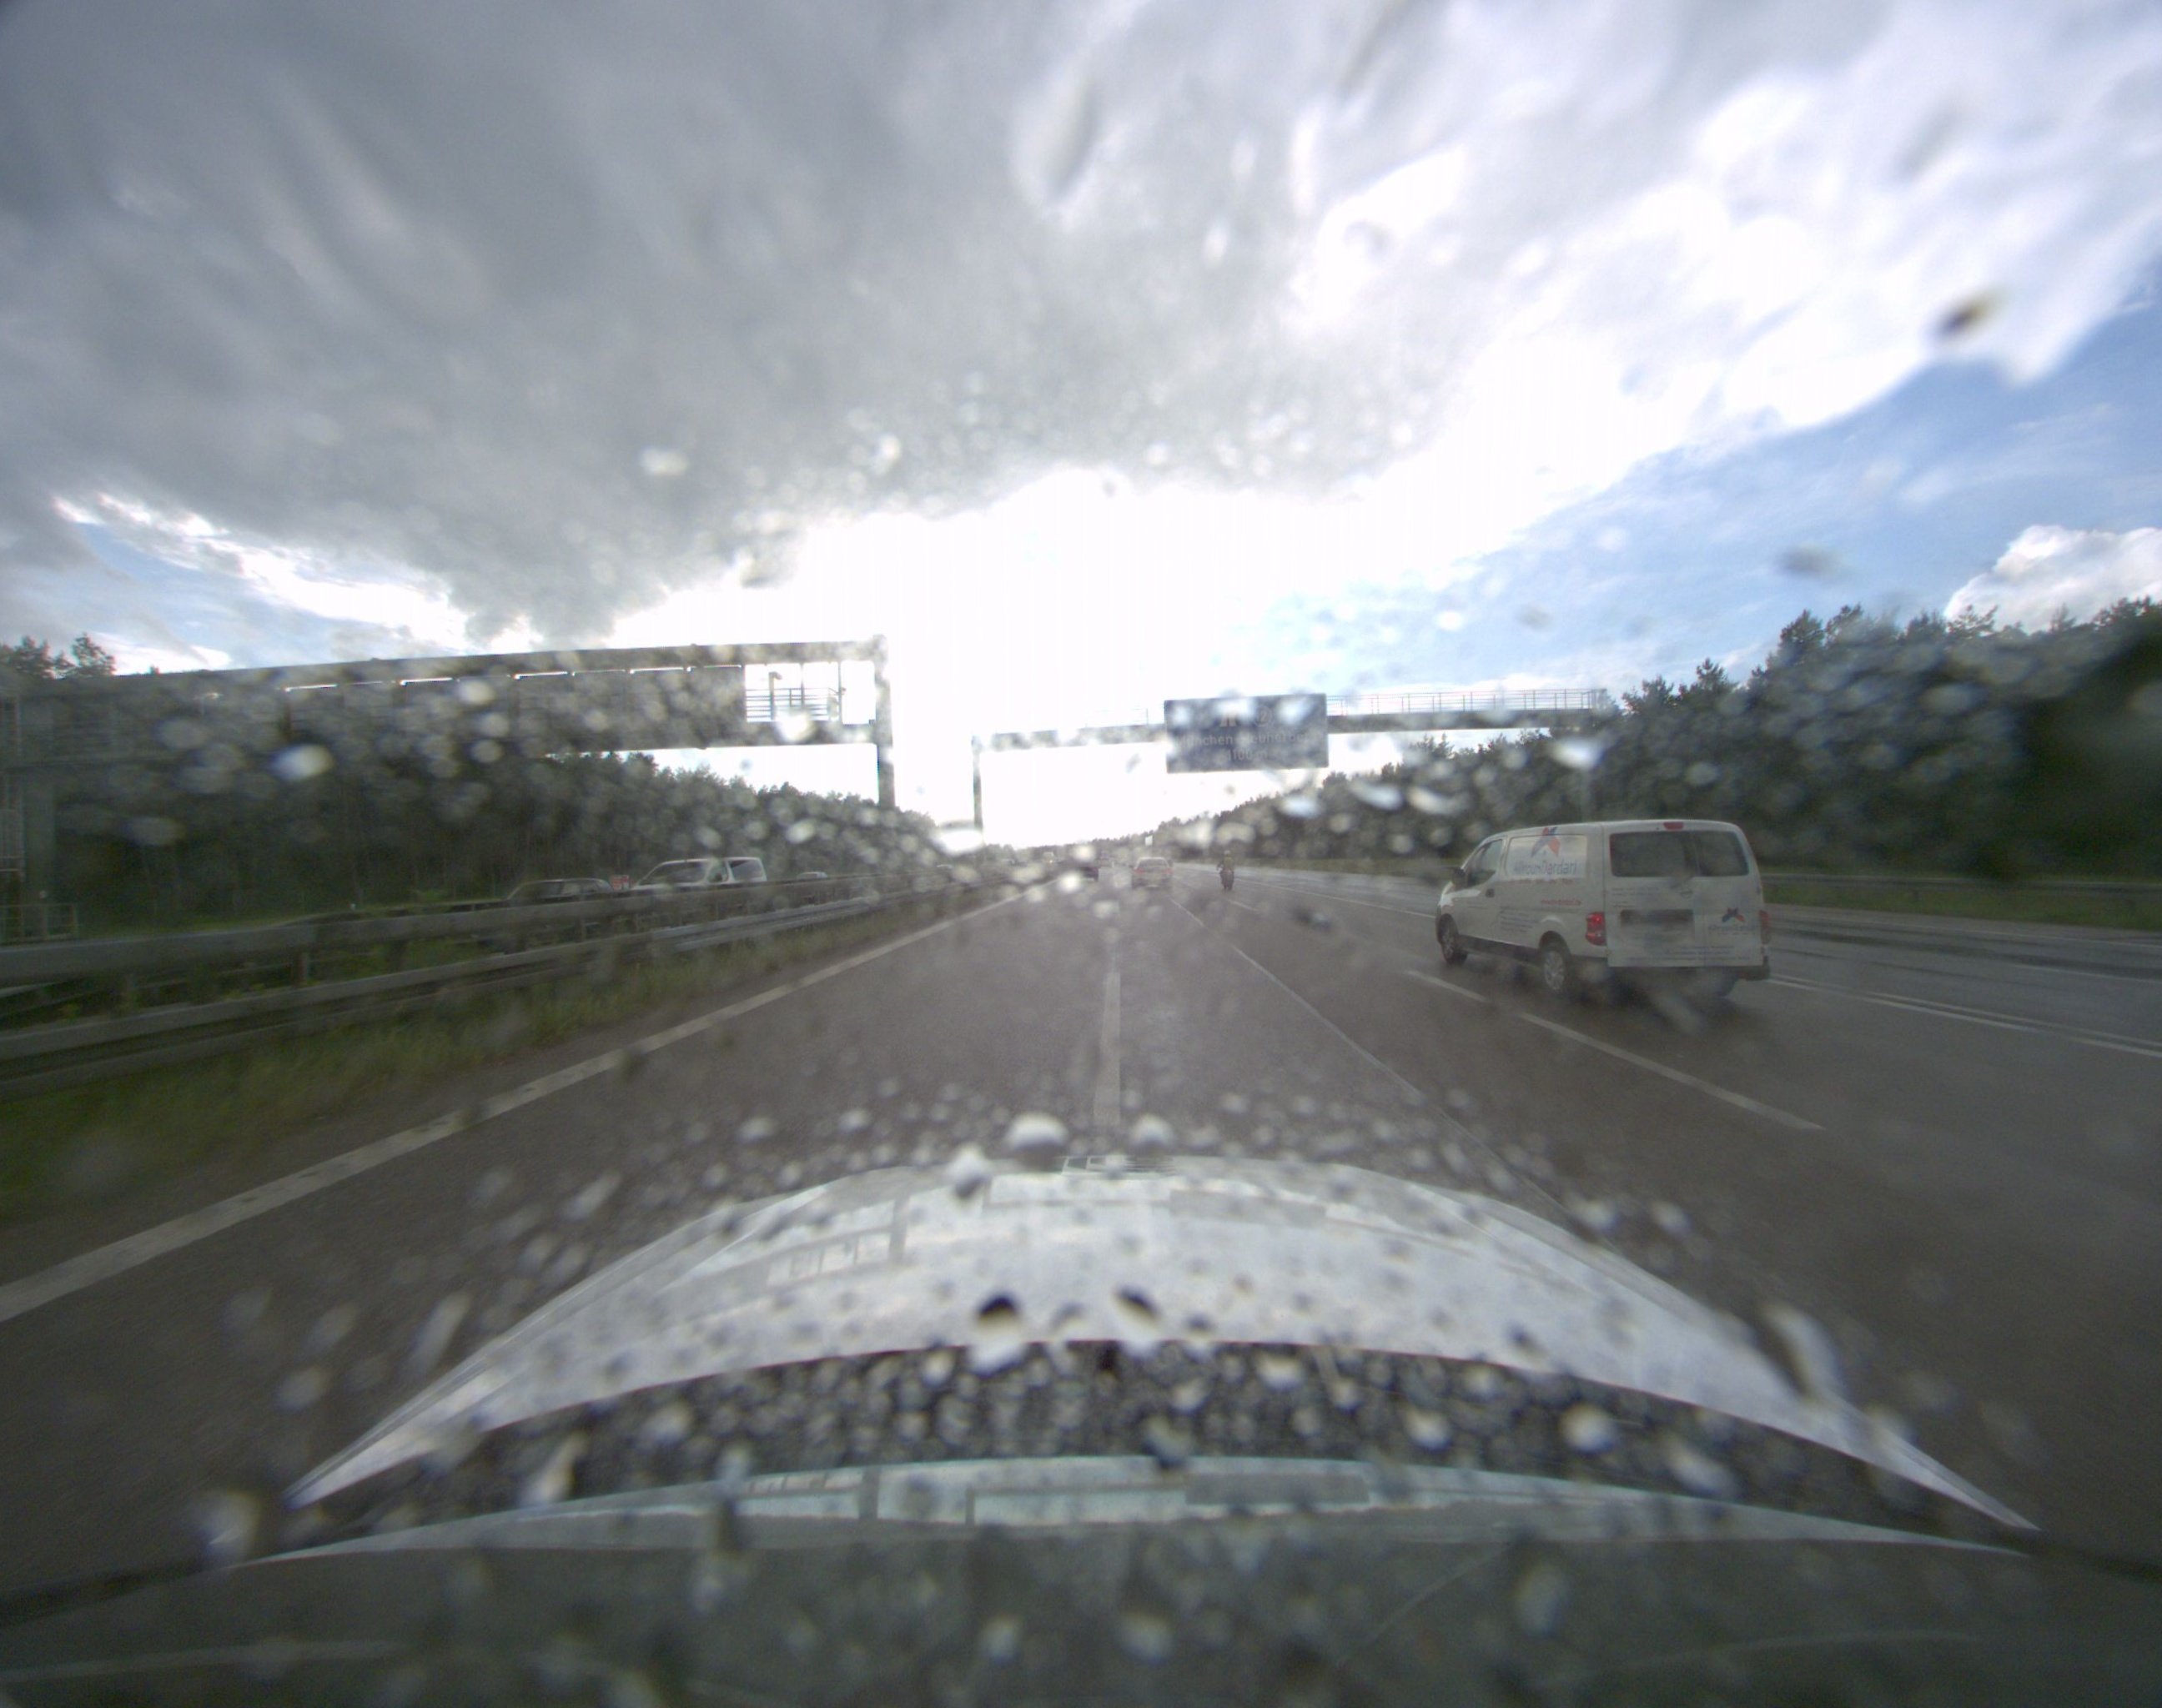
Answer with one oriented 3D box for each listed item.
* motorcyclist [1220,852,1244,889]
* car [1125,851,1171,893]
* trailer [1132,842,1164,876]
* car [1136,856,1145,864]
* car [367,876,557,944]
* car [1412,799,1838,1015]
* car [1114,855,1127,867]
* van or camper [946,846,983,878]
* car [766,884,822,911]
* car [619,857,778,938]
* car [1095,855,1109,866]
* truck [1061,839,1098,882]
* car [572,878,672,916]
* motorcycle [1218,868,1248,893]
[{"bbox_3d":[6.702,0.719,36.119,0.888,1.615,0.959,-1,-1,2],"label":"motorcyclist"},{"bbox_3d":[3.215,0.812,38.991,2.068,1.885,5.018,0,0,5],"label":"car"},{"bbox_3d":[8.392,0.672,103.333,2.318,4.002,13.399,-1,-1,-2],"label":"trailer"},{"bbox_3d":[14.647,1.428,199.866,1.986,2.014,4.000,0,-1,1],"label":"car"},{"bbox_3d":[-14.282,1.243,19.052,1.559,1.258,3.583,-4,0,2],"label":"car"},{"bbox_3d":[5.847,0.488,9.728,1.956,1.902,4.884,-1,0,2],"label":"car"},{"bbox_3d":[6.607,1.201,136.809,1.901,2.014,4.000,-1,0,1],"label":"car"},{"bbox_3d":[-12.122,0.830,85.330,2.291,3.113,7.550,-2,0,4],"label":"van or camper"},{"bbox_3d":[-16.788,2.526,47.858,1.737,1.376,4.001,-2,0,1],"label":"car"},{"bbox_3d":[-10.301,1.088,22.451,1.891,1.868,4.899,-2,0,2],"label":"car"},{"bbox_3d":[2.825,0.920,111.145,1.824,1.466,4.002,-1,-1,2],"label":"car"},{"bbox_3d":[-0.100,0.417,50.378,2.130,2.489,5.312,-1,0,0],"label":"truck"},{"bbox_3d":[-17.704,1.614,31.619,1.619,1.258,3.843,-1,0,2],"label":"car"},{"bbox_3d":[6.739,1.148,36.138,0.996,1.031,2.175,-1,0,2],"label":"motorcycle"}]
